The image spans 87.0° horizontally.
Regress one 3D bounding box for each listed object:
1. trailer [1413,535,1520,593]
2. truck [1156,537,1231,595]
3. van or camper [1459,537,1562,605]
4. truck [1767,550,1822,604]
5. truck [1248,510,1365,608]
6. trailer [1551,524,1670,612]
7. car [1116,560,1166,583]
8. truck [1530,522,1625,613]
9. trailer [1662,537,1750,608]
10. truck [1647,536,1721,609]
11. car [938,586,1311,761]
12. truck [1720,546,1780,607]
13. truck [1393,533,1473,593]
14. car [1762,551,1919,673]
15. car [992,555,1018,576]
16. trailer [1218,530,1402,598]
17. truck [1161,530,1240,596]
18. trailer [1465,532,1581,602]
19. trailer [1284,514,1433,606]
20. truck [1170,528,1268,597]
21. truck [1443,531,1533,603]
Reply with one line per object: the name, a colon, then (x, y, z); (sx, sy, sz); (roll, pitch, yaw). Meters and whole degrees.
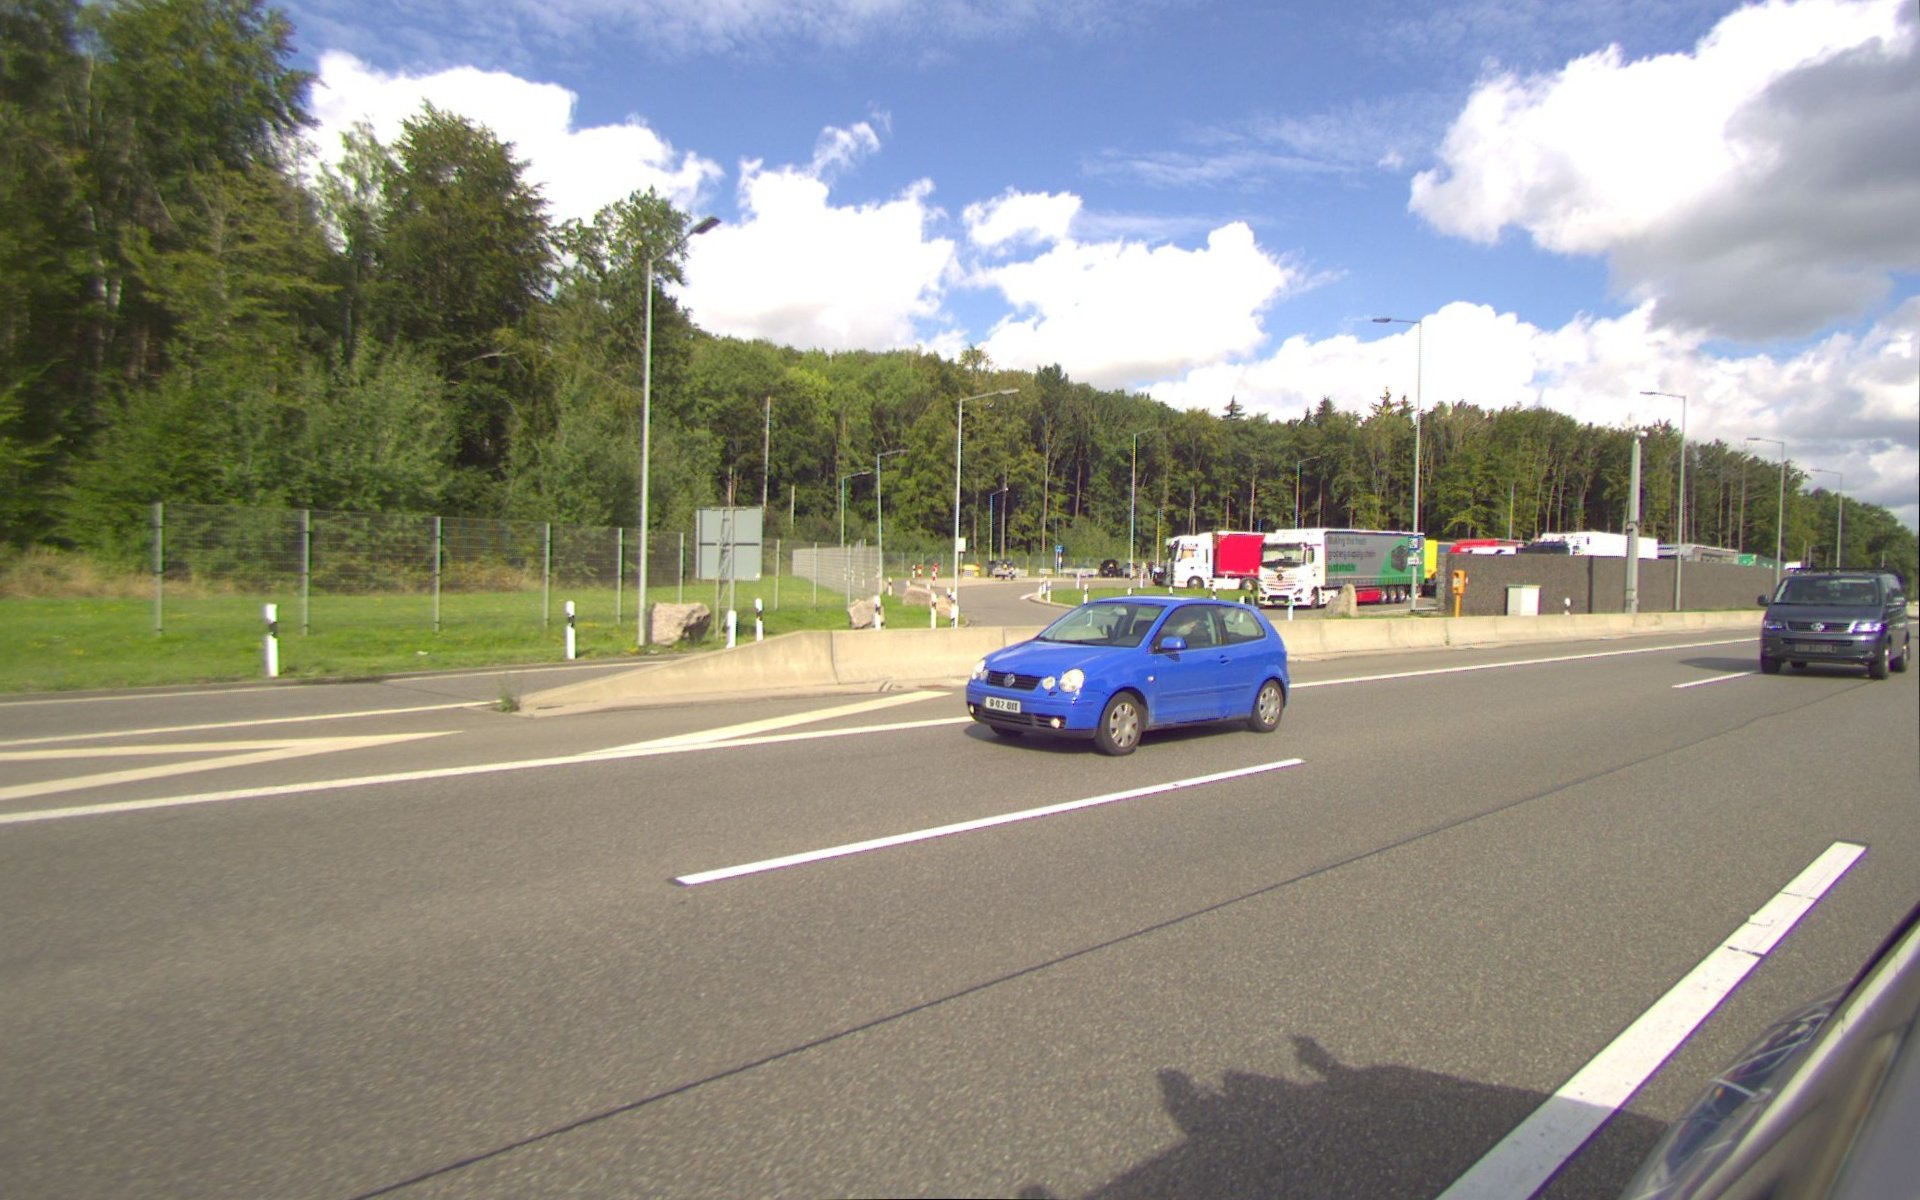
trailer: (38.260, -2.603, 76.154); (11.871, 4.075, 2.996); (-1, 0, -42)
truck: (17.383, -2.517, 75.687); (5.081, 4.169, 2.568); (1, 1, 6)
van or camper: (27.617, -1.406, 50.759); (4.647, 3.237, 2.399); (1, 1, -30)
truck: (79.898, -2.163, 96.843); (7.253, 4.986, 2.661); (0, 2, -40)
truck: (17.567, -1.982, 51.013); (2.871, 4.563, 7.066); (2, 2, 43)
trailer: (40.430, -1.875, 62.561); (12.884, 4.986, 2.659); (0, 2, -41)
car: (15.868, -2.493, 88.975); (1.965, 1.938, 3.994); (0, 2, -41)
truck: (35.627, -1.814, 58.313); (6.864, 4.986, 2.659); (0, 2, -41)
trailer: (56.423, -1.996, 76.358); (12.521, 4.986, 2.659); (0, 2, -41)
truck: (51.752, -1.939, 72.260); (7.135, 4.986, 2.659); (0, 2, -41)
car: (1.809, 0.604, 10.371); (3.930, 1.460, 1.653); (0, 1, -41)
truck: (66.920, -1.955, 85.703); (6.848, 4.986, 2.659); (0, 2, -41)
truck: (33.757, -2.540, 72.161); (6.147, 4.075, 2.979); (-1, 0, -42)
car: (17.633, 0.196, 19.984); (4.844, 2.136, 1.853); (0, 0, -39)
car: (3.805, -2.944, 86.607); (1.920, 1.704, 4.002); (1, 2, -2)
trailer: (23.309, -2.400, 67.941); (11.188, 4.429, 2.840); (1, 0, 7)
truck: (17.154, -2.622, 72.503); (5.032, 4.564, 2.893); (1, 1, 6)
trailer: (40.004, -2.192, 71.551); (13.456, 4.563, 2.876); (0, 1, -42)
trailer: (22.239, -2.052, 55.794); (2.872, 4.562, 12.794); (2, 2, 44)
truck: (17.458, -2.534, 68.608); (5.991, 4.564, 2.876); (1, 0, 6)
truck: (35.117, -2.128, 67.211); (6.913, 4.563, 2.877); (0, 1, -41)
